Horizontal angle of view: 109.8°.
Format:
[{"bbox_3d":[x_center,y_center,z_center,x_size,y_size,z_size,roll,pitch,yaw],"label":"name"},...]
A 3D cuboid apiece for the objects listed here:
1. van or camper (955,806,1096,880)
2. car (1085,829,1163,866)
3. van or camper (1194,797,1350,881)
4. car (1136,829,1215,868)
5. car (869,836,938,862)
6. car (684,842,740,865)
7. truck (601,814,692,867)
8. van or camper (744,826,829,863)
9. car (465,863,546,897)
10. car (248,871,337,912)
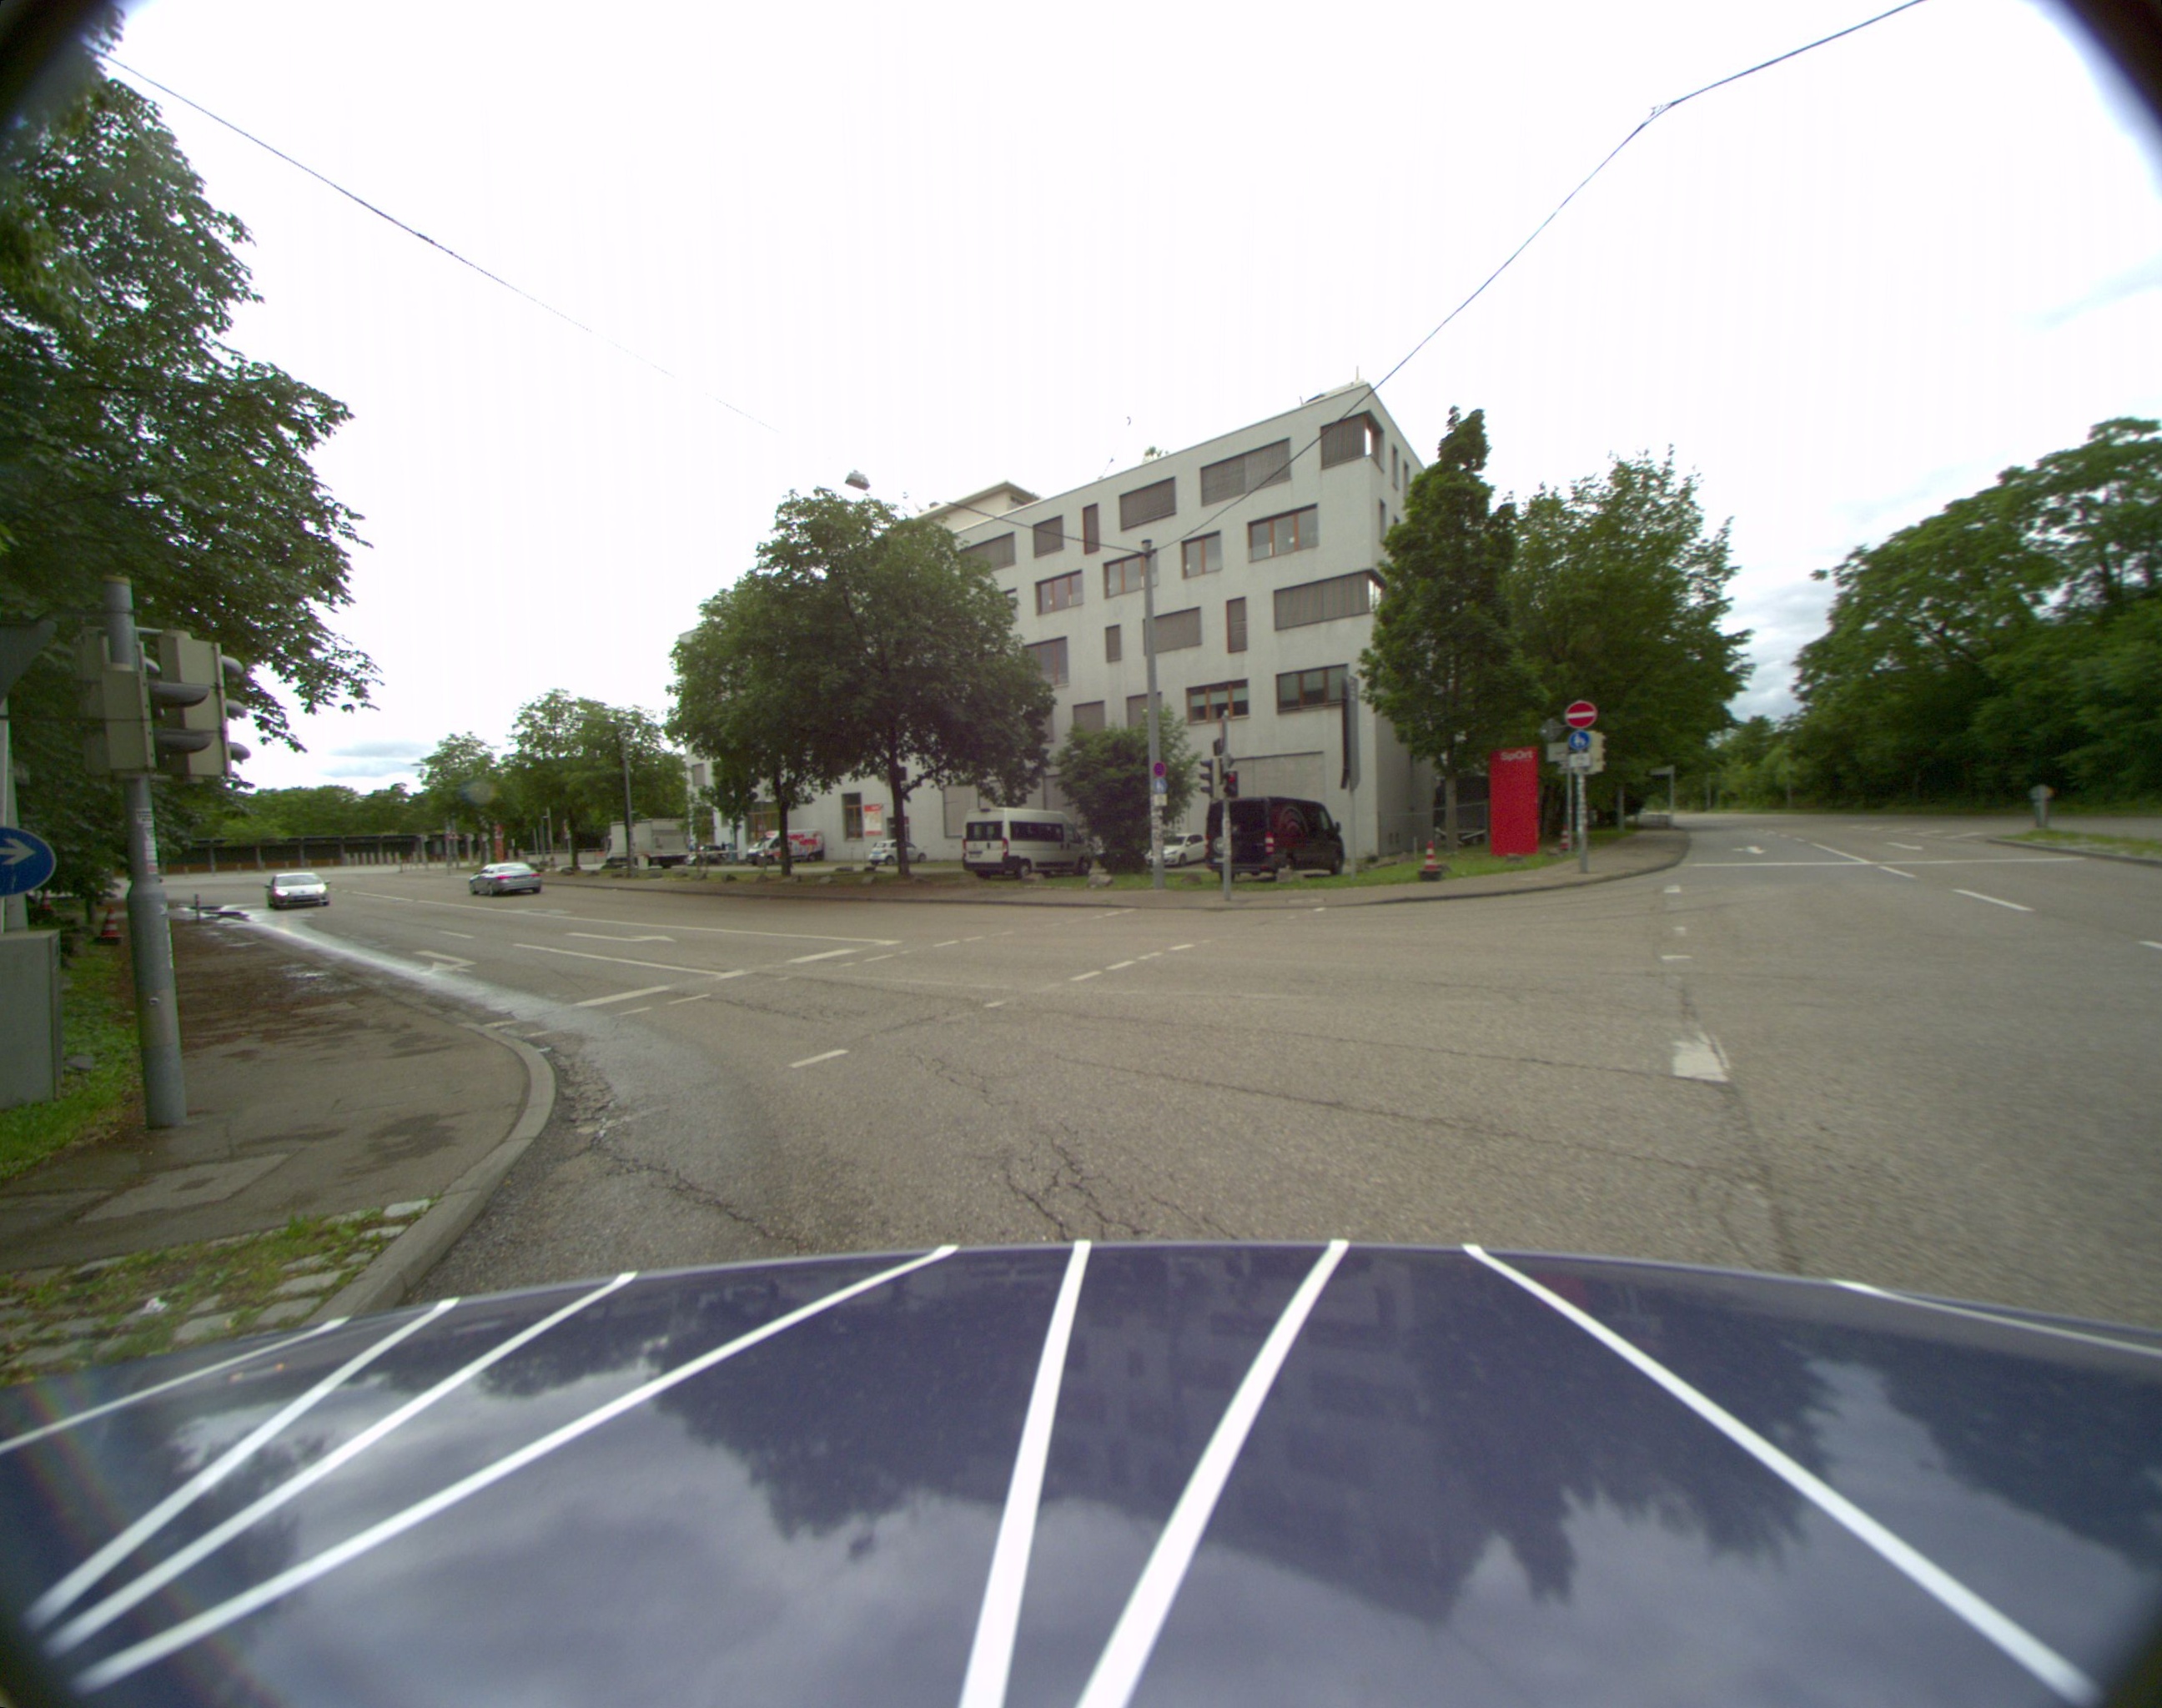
[{"bbox_3d":[-1.882,-0.431,27.598,2.151,2.409,5.195,-1,1,36],"label":"van or camper"},{"bbox_3d":[2.196,-0.362,37.533,1.839,1.521,4.088,-1,4,36],"label":"car"},{"bbox_3d":[5.655,-0.408,21.893,2.164,2.097,5.655,-1,0,39],"label":"van or camper"},{"bbox_3d":[4.541,-0.294,36.113,1.853,1.452,4.081,-2,4,37],"label":"car"},{"bbox_3d":[-11.224,-0.317,48.335,1.709,1.411,4.019,-1,3,39],"label":"car"},{"bbox_3d":[-30.144,-0.072,62.127,1.650,1.638,3.708,0,3,41],"label":"car"},{"bbox_3d":[-31.838,-0.907,55.572,7.817,3.595,2.654,-1,1,36],"label":"truck"},{"bbox_3d":[-21.565,-0.764,55.786,2.251,2.413,5.278,-1,3,37],"label":"van or camper"},{"bbox_3d":[-26.063,1.175,34.371,4.358,1.389,1.706,-2,1,36],"label":"car"},{"bbox_3d":[-34.139,1.562,32.875,4.496,1.471,1.859,0,4,34],"label":"car"}]
